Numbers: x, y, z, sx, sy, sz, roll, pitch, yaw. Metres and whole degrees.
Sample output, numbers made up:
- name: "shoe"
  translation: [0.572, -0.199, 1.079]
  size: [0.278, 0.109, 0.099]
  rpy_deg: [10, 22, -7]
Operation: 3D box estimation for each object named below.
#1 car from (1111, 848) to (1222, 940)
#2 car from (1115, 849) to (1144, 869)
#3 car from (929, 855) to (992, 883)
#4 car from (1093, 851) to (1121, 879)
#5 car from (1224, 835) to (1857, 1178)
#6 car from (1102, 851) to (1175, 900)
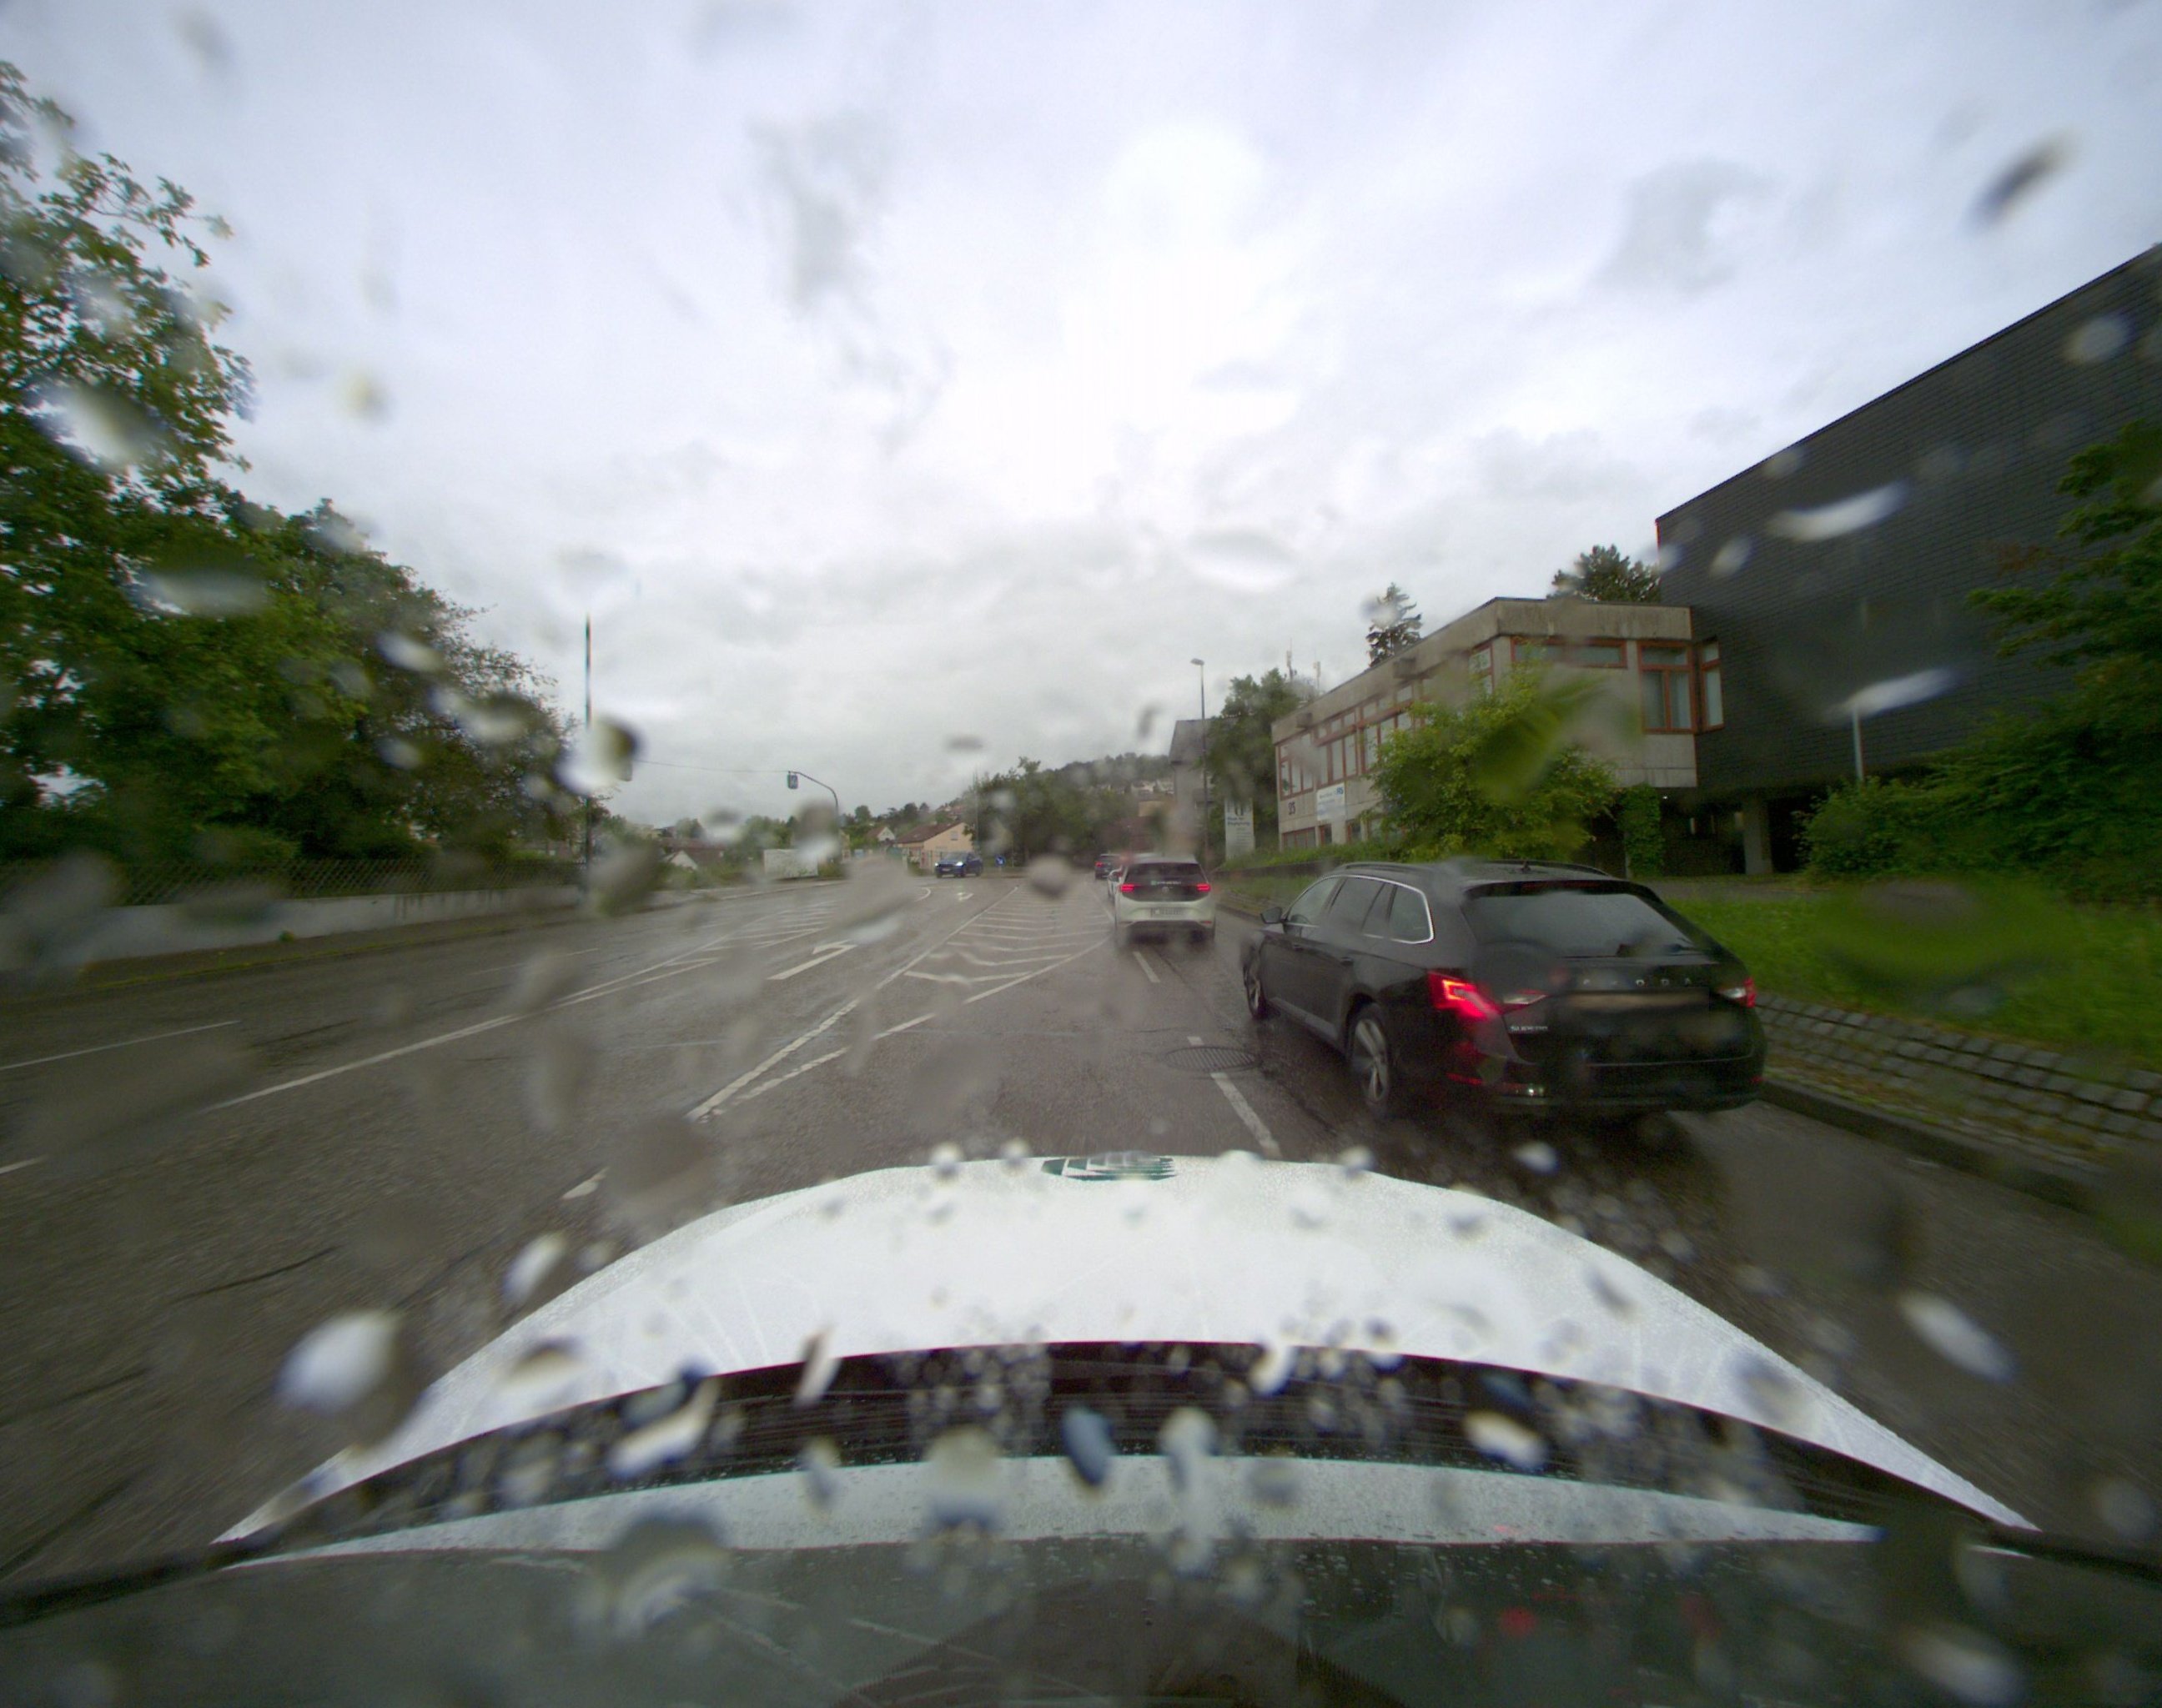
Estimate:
- name: "car"
  translation: [1.528, 0.697, 15.641]
  size: [1.821, 1.500, 4.171]
  rpy_deg: [-1, -1, 3]
- name: "car"
  translation: [3.947, 0.409, 65.394]
  size: [1.983, 1.453, 3.778]
  rpy_deg: [-4, -1, 7]
- name: "car"
  translation: [-7.525, 0.964, 51.319]
  size: [1.977, 1.693, 4.727]
  rpy_deg: [0, -1, 19]
- name: "car"
  translation: [1.515, 0.619, 48.452]
  size: [1.561, 1.530, 4.001]
  rpy_deg: [-1, 0, 1]
- name: "car"
  translation: [2.488, 0.721, 5.953]
  size: [1.949, 1.507, 4.605]
  rpy_deg: [1, -1, -2]
- name: "car"
  translation: [1.733, 0.664, 25.994]
  size: [1.843, 1.410, 4.297]
  rpy_deg: [-1, -1, -3]
